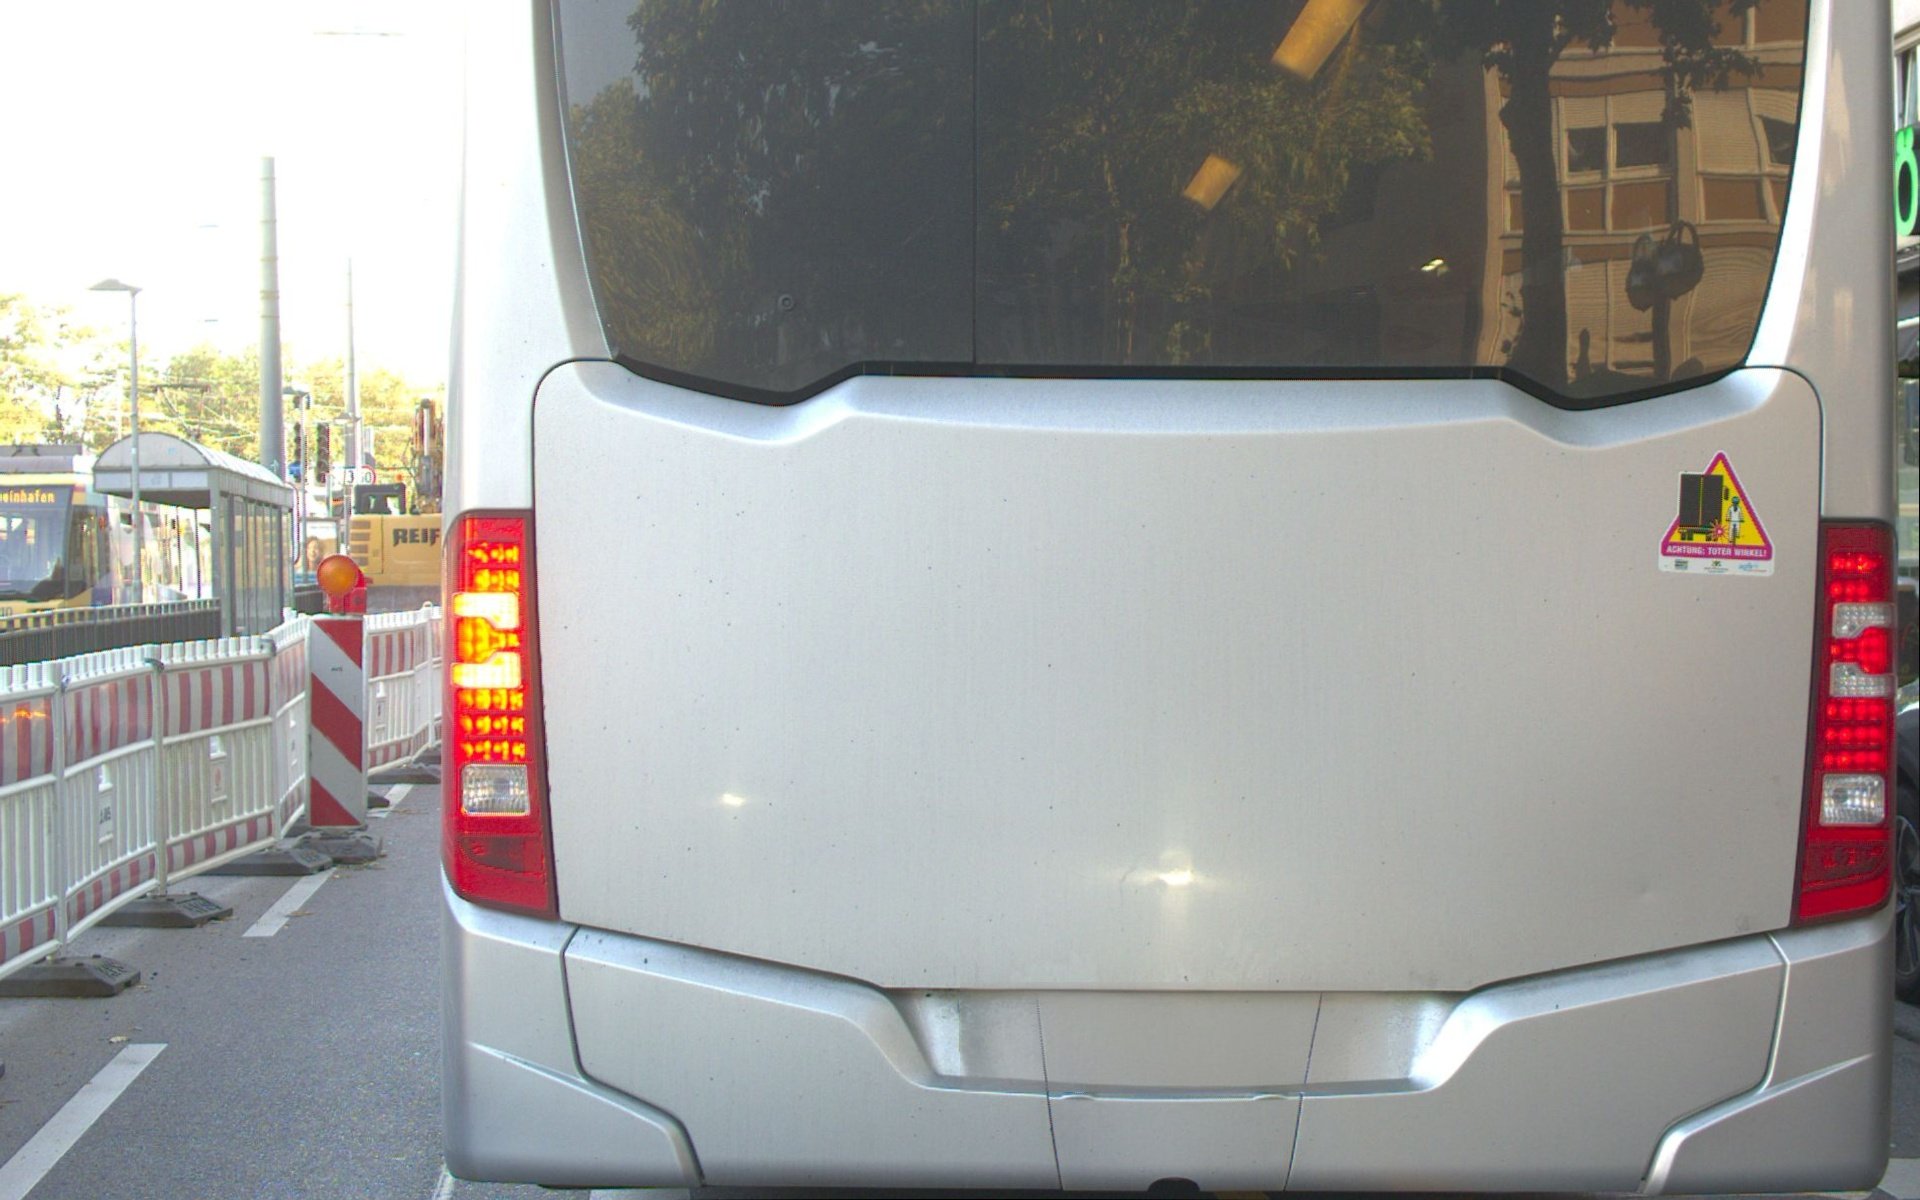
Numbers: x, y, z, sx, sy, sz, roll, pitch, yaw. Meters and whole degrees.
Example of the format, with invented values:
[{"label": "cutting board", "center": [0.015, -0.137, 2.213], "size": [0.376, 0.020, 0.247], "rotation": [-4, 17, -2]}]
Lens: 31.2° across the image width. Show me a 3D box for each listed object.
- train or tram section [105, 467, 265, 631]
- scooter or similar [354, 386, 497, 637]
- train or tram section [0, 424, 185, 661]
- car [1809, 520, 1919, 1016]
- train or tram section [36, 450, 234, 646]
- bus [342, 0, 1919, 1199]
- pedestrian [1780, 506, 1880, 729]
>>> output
[{"label": "train or tram section", "center": [-17.978, -1.166, 80.334], "size": [2.686, 3.521, 11.585], "rotation": [1, 1, -8]}, {"label": "scooter or similar", "center": [-9.942, -1.621, 64.366], "size": [2.468, 4.455, 5.974], "rotation": [-1, 1, -8]}, {"label": "train or tram section", "center": [-14.976, -0.923, 57.110], "size": [2.686, 3.521, 11.774], "rotation": [1, 1, -6]}, {"label": "car", "center": [4.146, 0.523, 9.764], "size": [1.993, 1.576, 4.369], "rotation": [-3, 1, -5]}, {"label": "train or tram section", "center": [-16.355, -1.012, 68.866], "size": [2.686, 3.546, 11.585], "rotation": [1, 1, -8]}, {"label": "bus", "center": [0.295, -0.208, 9.509], "size": [2.611, 3.115, 7.993], "rotation": [1, 1, -1]}, {"label": "pedestrian", "center": [6.666, 0.130, 26.327], "size": [0.664, 1.661, 0.600], "rotation": [-2, 0, 16]}]
